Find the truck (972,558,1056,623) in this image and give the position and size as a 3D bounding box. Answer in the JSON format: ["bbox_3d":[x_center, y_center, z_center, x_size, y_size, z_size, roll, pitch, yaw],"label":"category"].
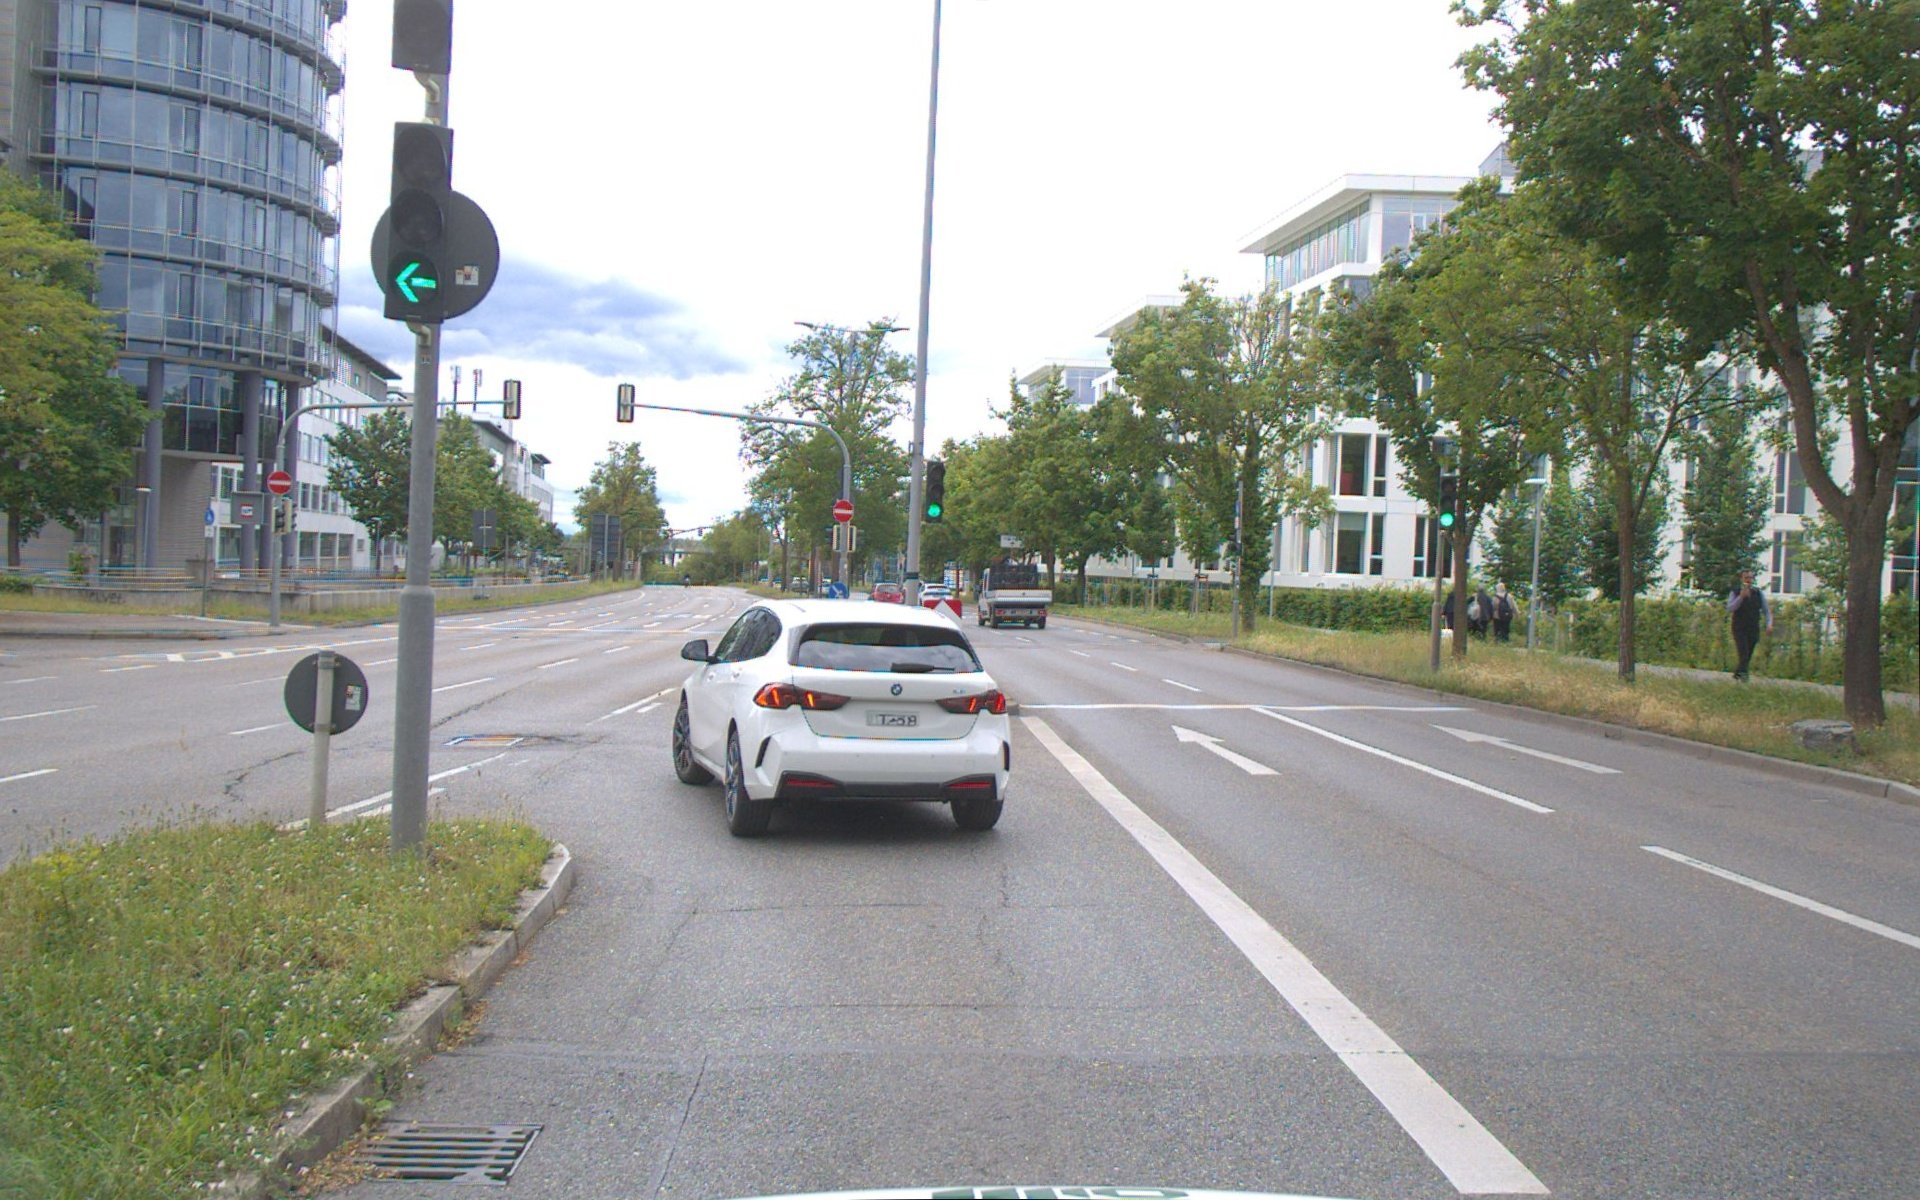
[{"bbox_3d":[1.936,-0.366,61.447,2.170,2.242,5.834,1,0,-8],"label":"truck"}]

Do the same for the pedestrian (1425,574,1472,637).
[{"bbox_3d":[11.793,0.131,39.955,0.773,1.473,1.112,1,0,-1],"label":"pedestrian"}]

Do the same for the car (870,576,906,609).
[{"bbox_3d":[-3.603,-0.388,82.600,1.682,1.585,3.854,0,0,-4],"label":"car"}]

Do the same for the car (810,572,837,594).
[{"bbox_3d":[-10.438,-1.311,126.446,1.820,1.624,4.305,1,0,-8],"label":"car"}]

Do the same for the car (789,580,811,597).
[{"bbox_3d":[-15.649,-1.137,161.643,1.856,1.623,4.305,2,0,-9],"label":"car"}]

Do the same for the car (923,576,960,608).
[{"bbox_3d":[-0.994,-0.416,86.078,1.682,1.583,4.086,1,0,-4],"label":"car"}]

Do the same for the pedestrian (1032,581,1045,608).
[{"bbox_3d":[6.047,-0.458,127.076,0.834,2.049,0.603,1,0,-15],"label":"pedestrian"}]

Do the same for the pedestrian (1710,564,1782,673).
[{"bbox_3d":[11.771,0.276,24.779,0.726,1.601,0.674,1,0,-1],"label":"pedestrian"}]

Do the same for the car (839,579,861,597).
[{"bbox_3d":[-10.242,-1.133,153.774,1.820,1.624,4.306,1,0,-8],"label":"car"}]

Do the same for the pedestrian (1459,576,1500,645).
[{"bbox_3d":[12.558,0.256,39.975,0.685,1.623,0.883,1,0,-1],"label":"pedestrian"}]

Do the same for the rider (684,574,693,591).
[{"bbox_3d":[-29.369,-1.906,178.986,0.829,1.802,0.807,1,0,-3],"label":"rider"}]

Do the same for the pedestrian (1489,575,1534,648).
[{"bbox_3d":[13.315,0.273,39.956,0.751,1.714,0.883,1,0,-1],"label":"pedestrian"}]

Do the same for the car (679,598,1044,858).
[{"bbox_3d":[-0.887,0.769,11.803,1.792,1.463,3.984,2,0,-15],"label":"car"}]
